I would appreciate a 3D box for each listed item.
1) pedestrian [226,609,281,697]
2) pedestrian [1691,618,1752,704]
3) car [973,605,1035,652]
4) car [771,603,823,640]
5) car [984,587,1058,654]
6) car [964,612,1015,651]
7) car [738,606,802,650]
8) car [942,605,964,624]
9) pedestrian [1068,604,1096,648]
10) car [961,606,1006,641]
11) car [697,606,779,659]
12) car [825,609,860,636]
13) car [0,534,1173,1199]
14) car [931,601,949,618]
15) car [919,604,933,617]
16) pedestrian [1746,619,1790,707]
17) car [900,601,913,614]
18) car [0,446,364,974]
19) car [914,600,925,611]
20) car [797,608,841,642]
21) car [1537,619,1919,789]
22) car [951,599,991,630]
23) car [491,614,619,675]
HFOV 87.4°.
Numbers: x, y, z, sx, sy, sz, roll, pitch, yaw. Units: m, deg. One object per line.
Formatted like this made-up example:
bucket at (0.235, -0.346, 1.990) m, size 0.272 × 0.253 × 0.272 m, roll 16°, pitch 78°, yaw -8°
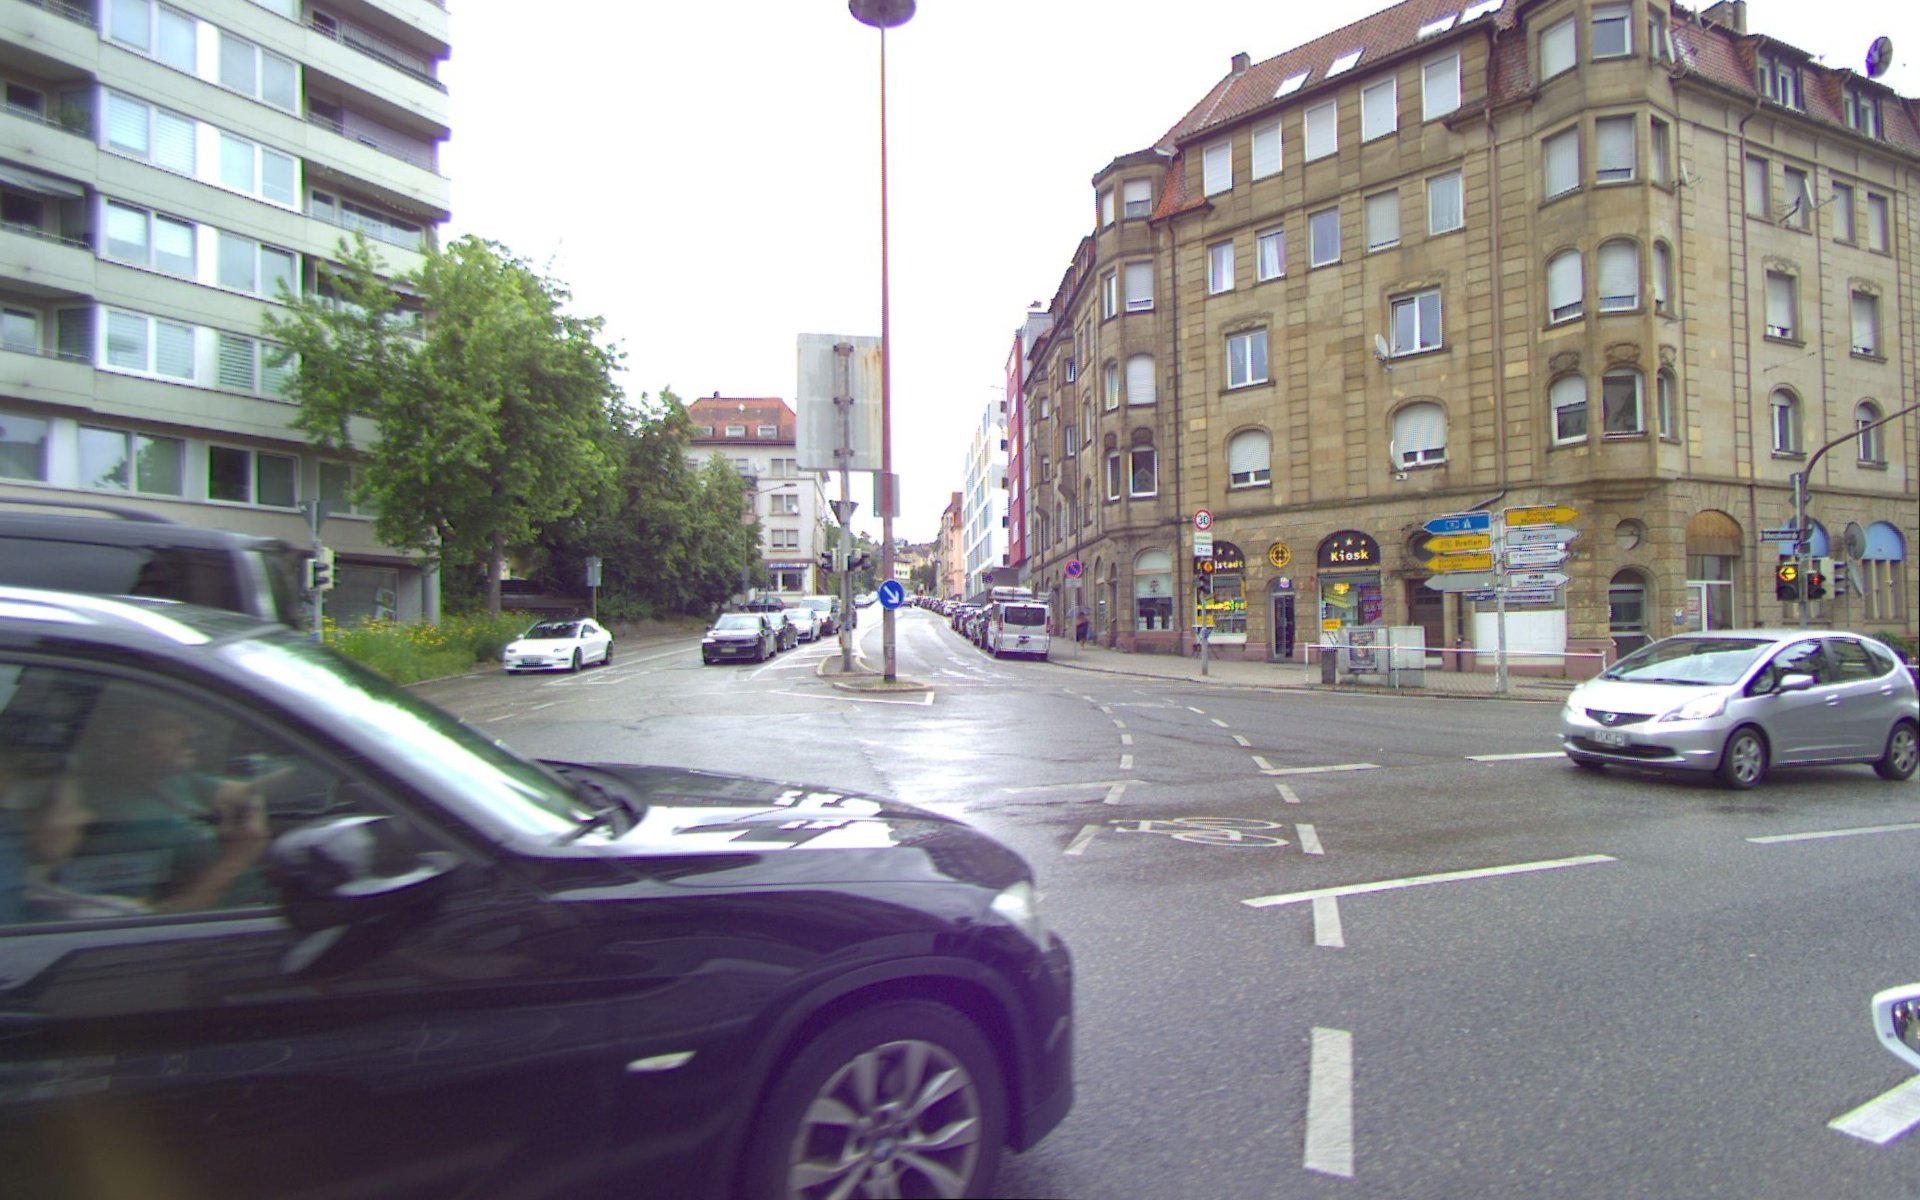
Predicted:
pedestrian at (-14.291, 1.060, 20.328) m, size 0.612 × 1.715 × 0.620 m, roll 1°, pitch -1°, yaw 11°
pedestrian at (15.921, 1.262, 21.007) m, size 0.812 × 1.724 × 0.639 m, roll 1°, pitch -1°, yaw 16°
car at (1.732, 1.149, 41.065) m, size 1.962 × 1.726 × 4.379 m, roll 2°, pitch -1°, yaw -5°
car at (-7.021, 0.926, 43.709) m, size 1.704 × 1.558 × 4.302 m, roll 0°, pitch -1°, yaw -2°
car at (2.118, 0.740, 36.255) m, size 1.962 × 2.197 × 4.801 m, roll 2°, pitch -1°, yaw -5°
car at (1.365, 1.509, 48.597) m, size 1.962 × 1.726 × 4.213 m, roll 2°, pitch -1°, yaw -5°
car at (-6.968, 1.017, 37.141) m, size 1.732 × 1.511 × 4.023 m, roll 0°, pitch -1°, yaw -2°
car at (-0.673, 1.357, 95.053) m, size 1.666 × 1.726 × 4.213 m, roll 2°, pitch -1°, yaw -5°
pedestrian at (4.701, 1.006, 38.781) m, size 0.774 × 1.683 × 0.665 m, roll 2°, pitch -1°, yaw -30°
car at (1.227, 1.244, 54.031) m, size 1.962 × 1.726 × 4.213 m, roll 2°, pitch -1°, yaw -5°
car at (-6.692, 0.971, 30.632) m, size 1.732 × 1.511 × 4.023 m, roll 0°, pitch -1°, yaw -2°
car at (-6.977, 1.344, 59.812) m, size 1.704 × 1.558 × 4.154 m, roll 0°, pitch -1°, yaw -2°
car at (-1.680, 0.697, 2.194) m, size 4.168 × 1.555 × 1.742 m, roll 2°, pitch -1°, yaw -32°
car at (-2.282, 1.099, 113.317) m, size 1.666 × 1.726 × 4.213 m, roll 2°, pitch -1°, yaw -5°
car at (-4.743, 1.459, 138.162) m, size 1.666 × 1.726 × 4.213 m, roll 2°, pitch -1°, yaw -5°
pedestrian at (16.965, 1.314, 21.106) m, size 0.683 × 1.797 × 0.522 m, roll 1°, pitch -1°, yaw 38°
car at (-7.610, 1.048, 143.253) m, size 1.666 × 1.726 × 4.213 m, roll 2°, pitch -1°, yaw -5°
car at (-4.796, 0.375, 3.858) m, size 4.092 × 1.870 × 1.737 m, roll 3°, pitch -3°, yaw -26°
car at (-6.774, 0.874, 168.136) m, size 1.666 × 1.726 × 4.213 m, roll 2°, pitch -1°, yaw -5°
car at (-7.098, 1.271, 51.062) m, size 1.705 × 1.558 × 4.154 m, roll 3°, pitch -2°, yaw -2°
car at (8.180, 1.013, 10.559) m, size 3.812 × 1.538 × 1.623 m, roll 2°, pitch -1°, yaw -20°
car at (0.614, 0.857, 60.118) m, size 1.962 × 1.726 × 4.213 m, roll 2°, pitch -1°, yaw -5°
car at (-11.187, 1.186, 28.116) m, size 1.876 × 1.511 × 4.392 m, roll 2°, pitch -1°, yaw -2°
